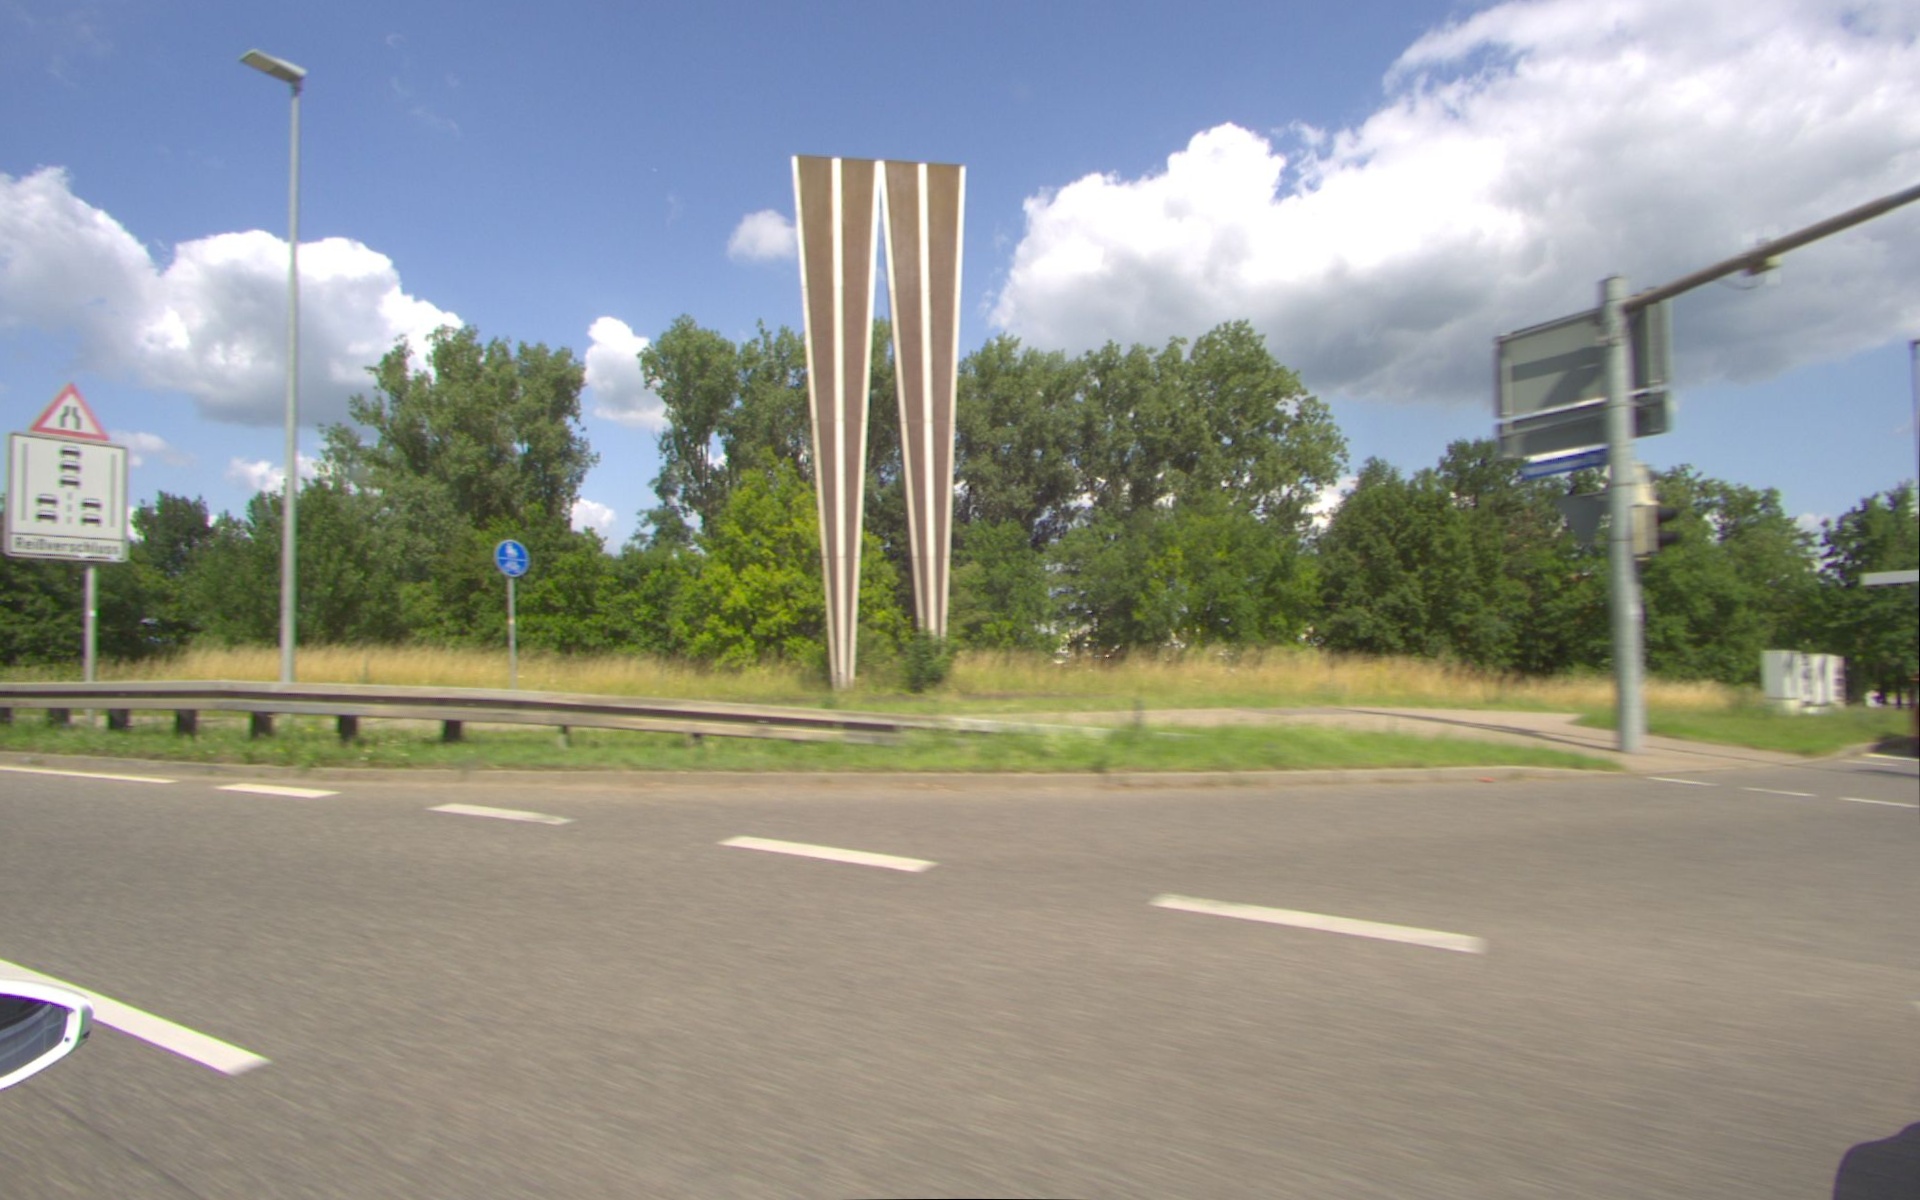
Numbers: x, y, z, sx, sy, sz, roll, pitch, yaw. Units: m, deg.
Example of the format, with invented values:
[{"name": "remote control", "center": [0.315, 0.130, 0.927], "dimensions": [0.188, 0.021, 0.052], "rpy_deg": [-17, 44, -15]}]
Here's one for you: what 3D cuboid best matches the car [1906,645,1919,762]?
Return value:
[{"name": "car", "center": [13.587, 1.298, 12.637], "dimensions": [4.167, 1.393, 1.746], "rpy_deg": [3, -3, -37]}]
